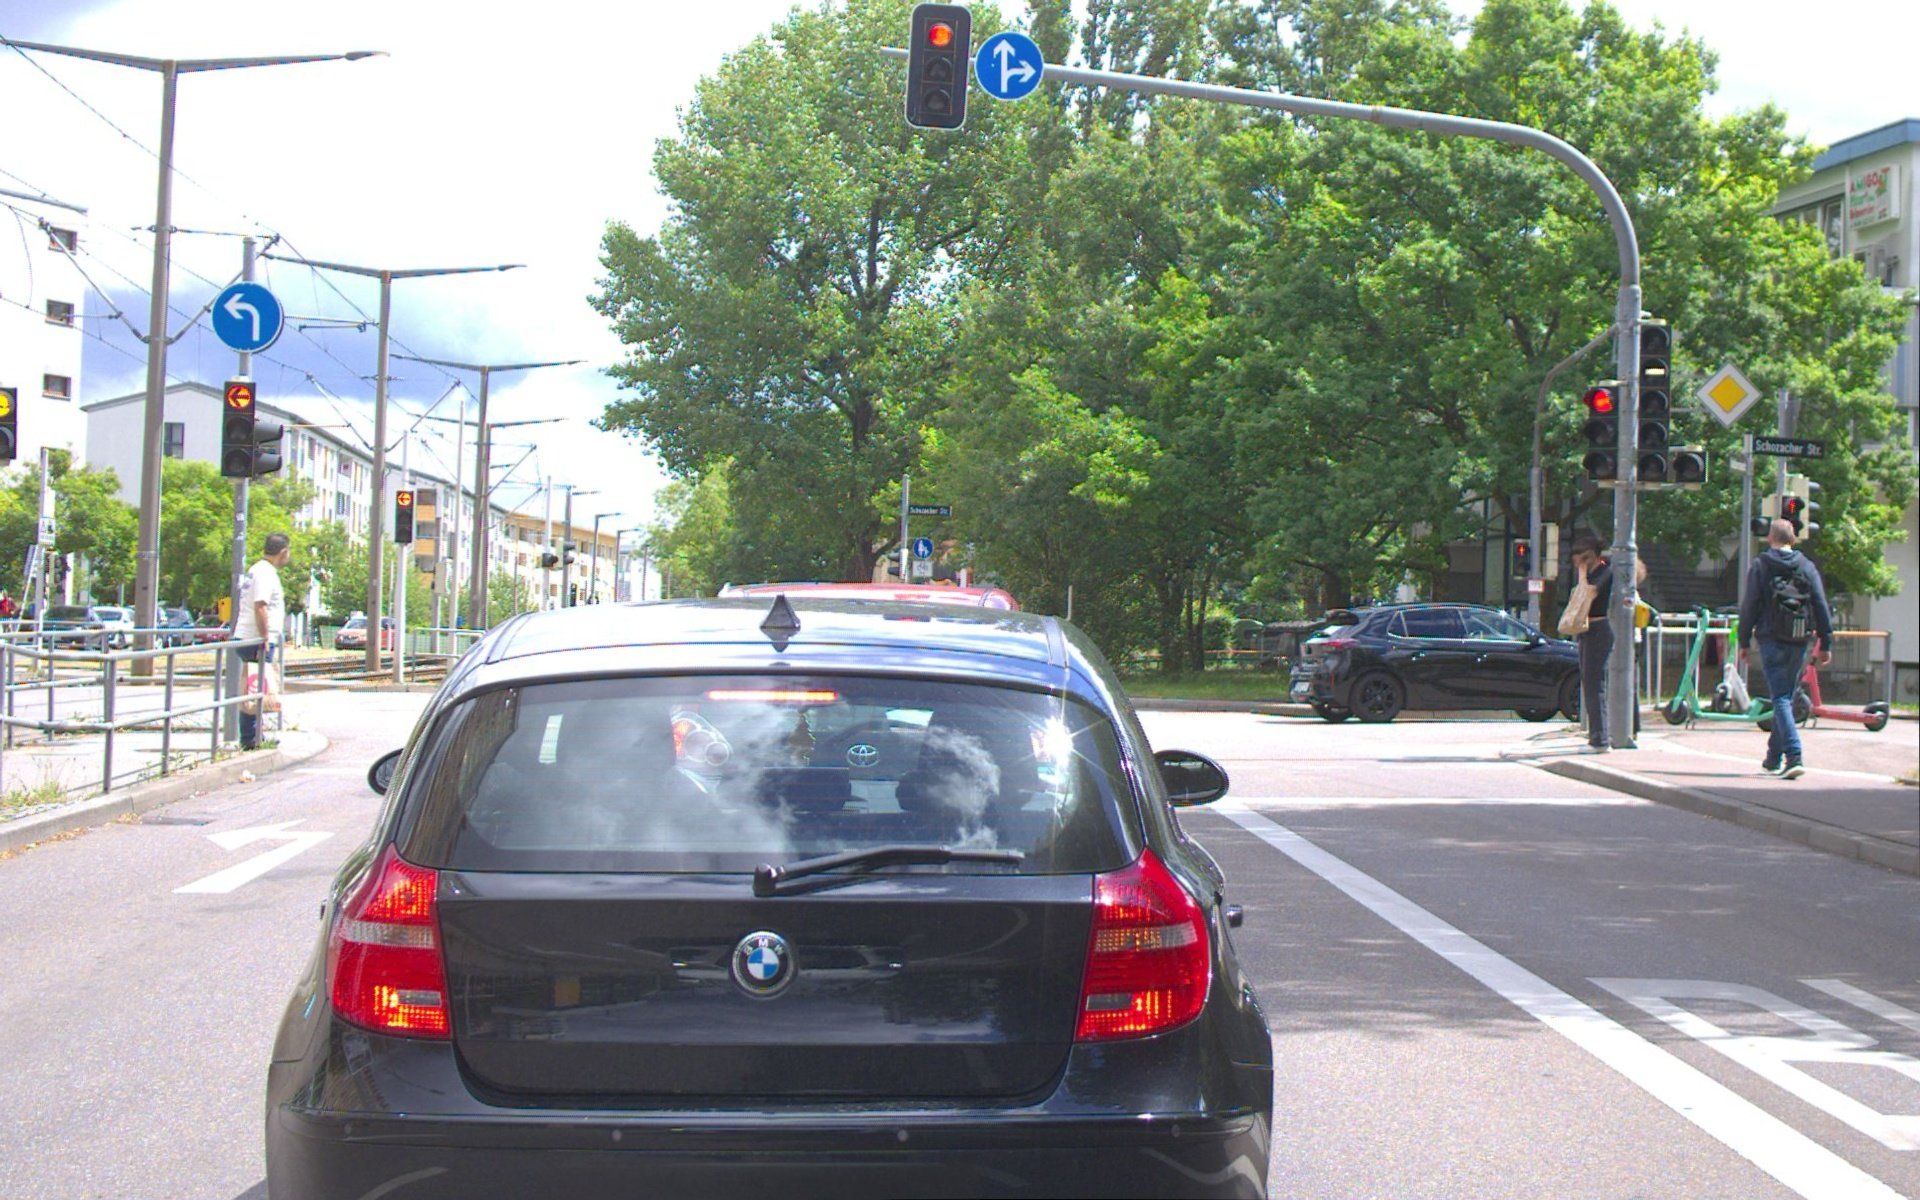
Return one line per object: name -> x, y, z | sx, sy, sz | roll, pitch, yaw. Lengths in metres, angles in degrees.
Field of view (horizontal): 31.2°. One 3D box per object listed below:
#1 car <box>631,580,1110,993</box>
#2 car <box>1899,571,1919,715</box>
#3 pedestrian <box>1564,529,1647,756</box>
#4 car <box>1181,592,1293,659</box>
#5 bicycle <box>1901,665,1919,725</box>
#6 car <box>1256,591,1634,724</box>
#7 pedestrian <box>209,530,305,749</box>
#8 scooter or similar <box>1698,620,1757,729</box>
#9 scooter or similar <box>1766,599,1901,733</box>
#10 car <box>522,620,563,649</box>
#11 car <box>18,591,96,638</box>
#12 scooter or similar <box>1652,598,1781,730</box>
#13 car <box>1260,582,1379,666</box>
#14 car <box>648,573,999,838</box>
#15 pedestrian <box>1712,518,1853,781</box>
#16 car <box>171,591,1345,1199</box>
car -> -0.330, 0.638, 13.637 | 1.638, 1.395, 3.420 | 1, 0, -1
car -> 15.712, 0.614, 48.114 | 4.534, 2.007, 2.000 | 0, 0, -8
pedestrian -> 5.383, 0.350, 28.687 | 0.636, 1.870, 0.518 | 1, 0, 8
car -> 7.284, 0.657, 90.688 | 1.862, 1.656, 4.001 | 1, 0, -11
bicycle -> 10.665, 1.004, 35.872 | 1.586, 0.608, 0.534 | 1, 0, 10
car -> 5.677, 0.671, 40.428 | 3.986, 1.481, 1.848 | 1, 0, -13
pedestrian -> -5.630, 0.312, 27.507 | 0.687, 1.728, 0.688 | 1, 0, -16
scooter or similar -> 7.800, 0.745, 34.904 | 0.548, 1.060, 1.261 | 1, 0, 13
scooter or similar -> 8.600, 0.646, 33.875 | 1.150, 1.268, 0.555 | 2, 0, 2
car -> -21.334, 1.765, 175.857 | 1.794, 1.405, 4.000 | 1, 0, -3
car -> -29.379, 0.455, 111.925 | 1.591, 1.469, 3.775 | 1, 0, -2
scooter or similar -> 7.242, 0.610, 32.929 | 1.110, 1.231, 0.539 | 1, 0, 2
car -> 8.301, 0.541, 79.702 | 1.726, 1.865, 4.001 | 1, 0, -9
car -> -0.771, 0.559, 21.107 | 1.900, 1.417, 4.539 | 1, 0, -1
pedestrian -> 5.982, 0.350, 25.041 | 0.795, 1.870, 1.013 | 1, 0, 2
car -> -0.318, 0.705, 6.734 | 1.700, 1.395, 3.420 | 1, 0, -1
